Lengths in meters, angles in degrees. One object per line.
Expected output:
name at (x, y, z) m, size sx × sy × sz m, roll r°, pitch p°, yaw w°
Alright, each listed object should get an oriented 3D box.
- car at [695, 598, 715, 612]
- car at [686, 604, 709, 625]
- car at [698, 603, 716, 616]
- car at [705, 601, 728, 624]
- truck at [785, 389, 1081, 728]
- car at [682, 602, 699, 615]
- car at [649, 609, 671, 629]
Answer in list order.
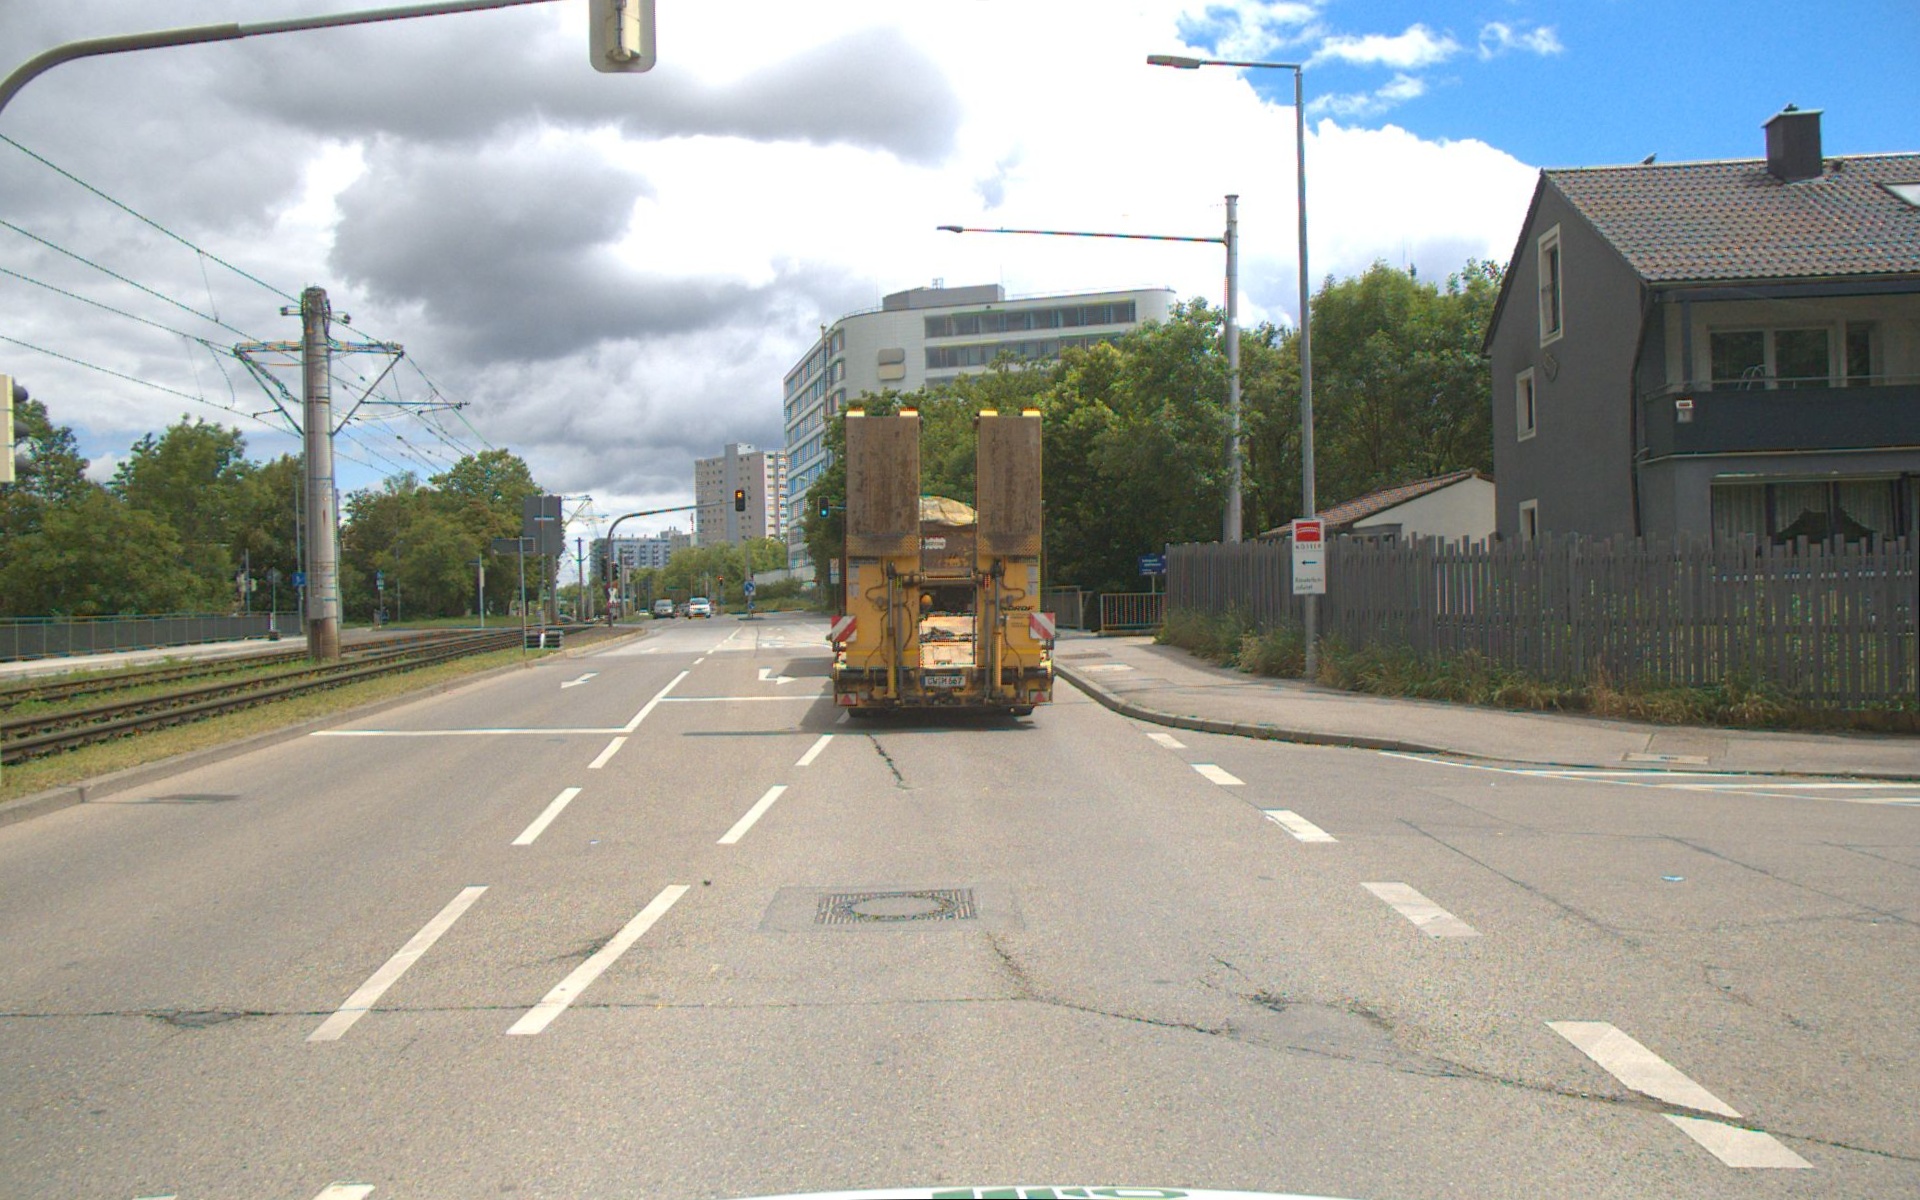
car at (-25.795, 0.516, 167.420) m, size 1.957 × 1.445 × 3.991 m, roll 0°, pitch 0°, yaw -9°
car at (-20.173, 1.099, 127.169) m, size 1.563 × 1.553 × 3.649 m, roll -2°, pitch 0°, yaw -8°
car at (-27.135, 1.010, 177.304) m, size 1.957 × 1.445 × 3.991 m, roll 0°, pitch 0°, yaw -9°
car at (-21.335, 1.092, 144.782) m, size 1.957 × 1.959 × 3.991 m, roll 0°, pitch 0°, yaw -9°
truck at (-0.711, -0.416, 24.532) m, size 3.250 × 3.715 × 12.551 m, roll 0°, pitch 0°, yaw -4°
car at (-32.807, 1.031, 201.290) m, size 1.957 × 1.646 × 3.991 m, roll 0°, pitch 0°, yaw -9°
car at (-25.696, 1.636, 141.735) m, size 1.751 × 1.597 × 4.334 m, roll -2°, pitch 0°, yaw -10°
